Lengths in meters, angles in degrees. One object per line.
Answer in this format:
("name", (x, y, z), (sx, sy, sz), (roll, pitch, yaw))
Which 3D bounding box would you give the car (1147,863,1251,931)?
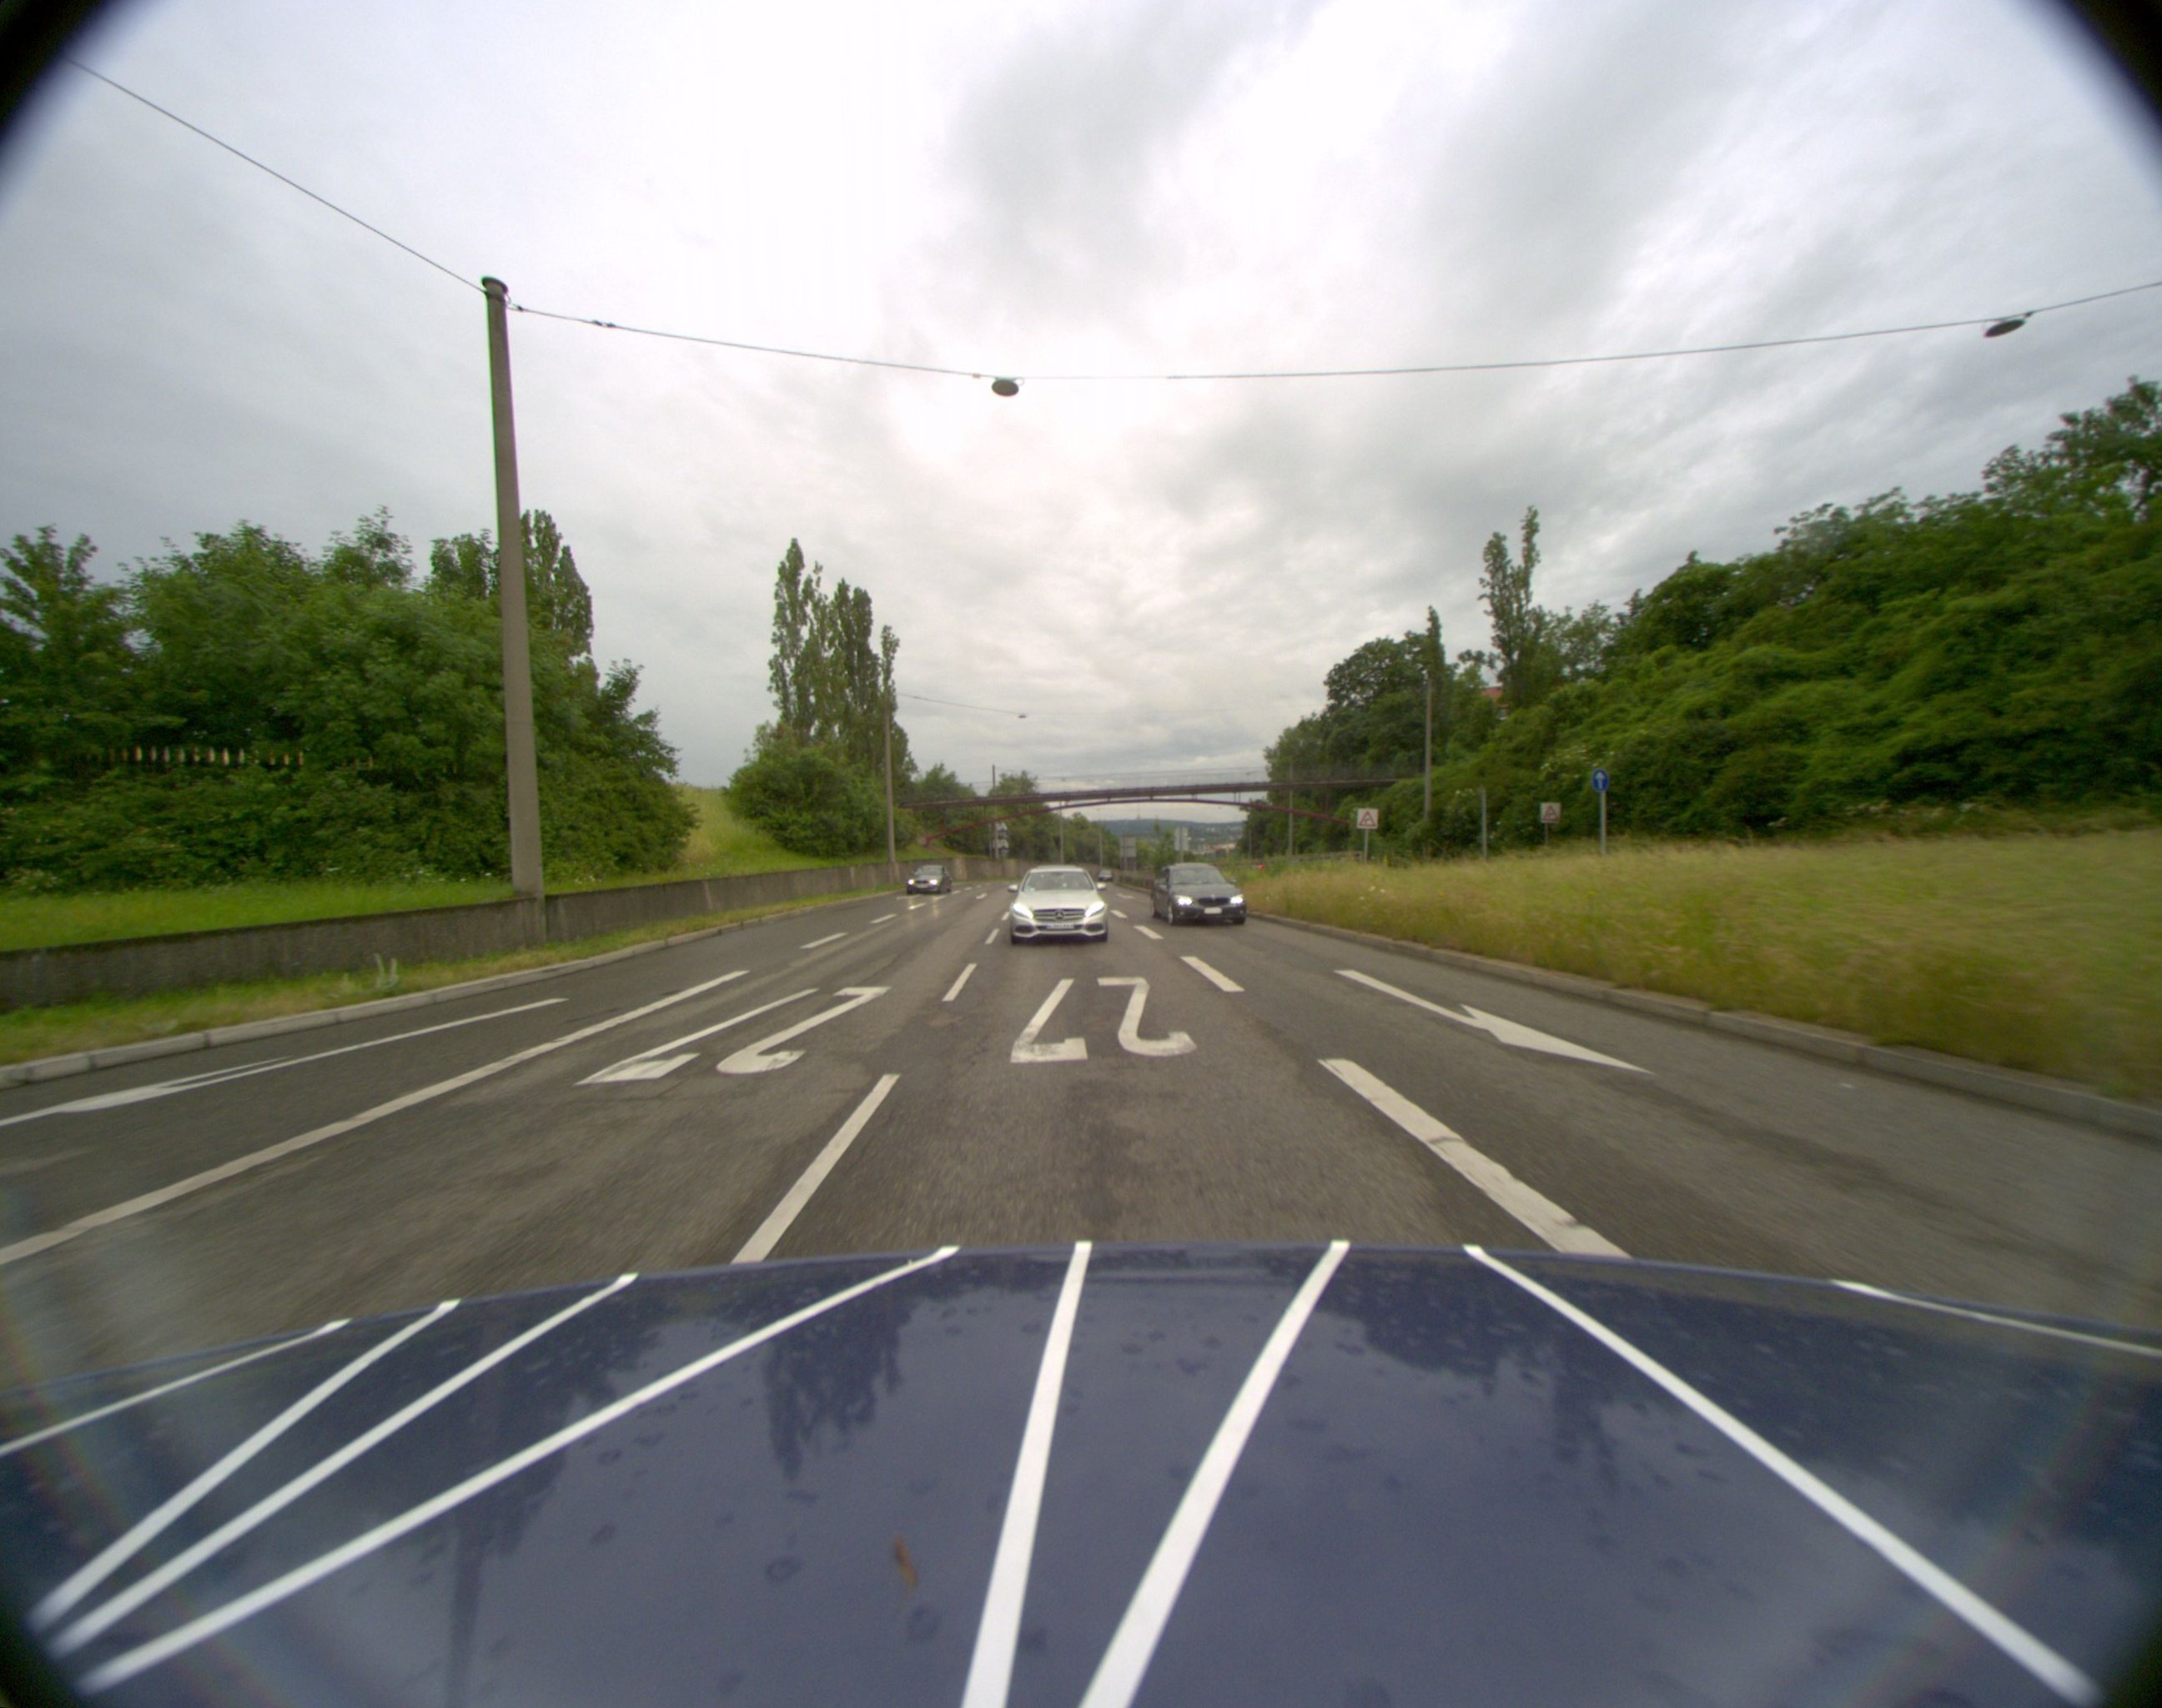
("car", (2.809, 0.983, 18.947), (1.730, 1.462, 3.886), (-1, 0, -4))

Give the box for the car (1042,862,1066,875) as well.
("car", (-3.097, 1.665, 87.950), (1.808, 1.501, 4.004), (-2, -1, 12))

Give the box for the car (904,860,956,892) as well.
("car", (-7.618, 1.109, 38.689), (1.810, 1.501, 4.000), (-2, -1, 0))

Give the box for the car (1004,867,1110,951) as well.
("car", (-0.462, 1.021, 15.702), (1.861, 1.394, 4.314), (-2, 0, -1))

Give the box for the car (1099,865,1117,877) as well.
("car", (3.441, 2.134, 96.322), (1.809, 1.501, 4.003), (-2, -1, 8))
